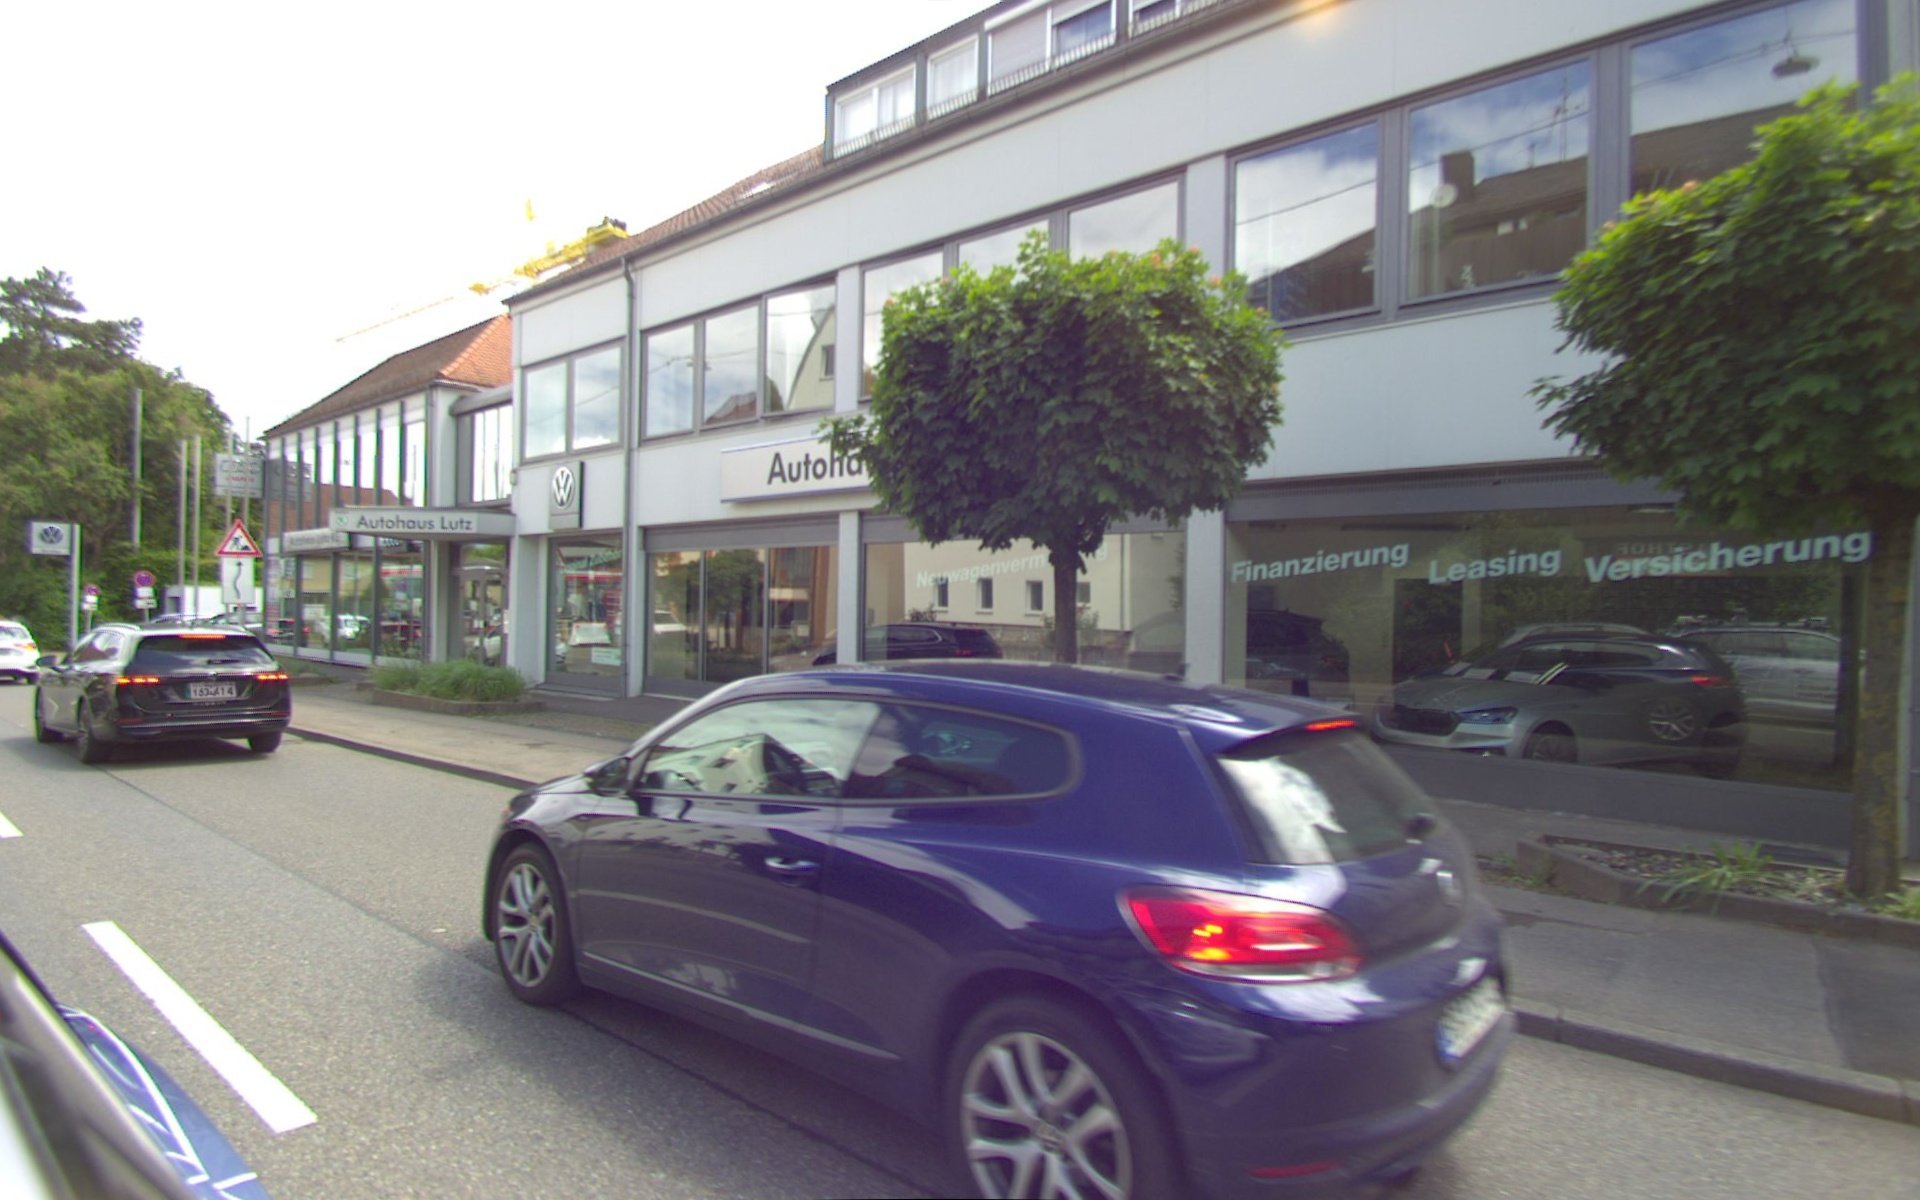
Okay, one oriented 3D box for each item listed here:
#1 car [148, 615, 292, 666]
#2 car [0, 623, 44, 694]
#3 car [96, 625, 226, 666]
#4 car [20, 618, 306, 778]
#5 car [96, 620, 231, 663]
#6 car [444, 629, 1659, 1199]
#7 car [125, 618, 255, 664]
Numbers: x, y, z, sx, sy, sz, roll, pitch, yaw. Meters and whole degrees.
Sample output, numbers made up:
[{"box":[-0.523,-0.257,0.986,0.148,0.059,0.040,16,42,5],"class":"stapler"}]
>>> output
[{"box":[-27.069,1.453,37.110,1.652,1.643,3.974,-2,0,38],"class":"car"},{"box":[-23.624,1.367,24.455,3.797,1.591,1.673,0,-2,40],"class":"car"},{"box":[-31.418,1.788,39.877,1.727,1.530,3.703,-2,-3,39],"class":"car"},{"box":[-9.549,1.004,11.993,4.458,1.535,1.758,0,-2,40],"class":"car"},{"box":[-33.718,1.726,42.948,1.903,1.653,4.245,-2,-1,41],"class":"car"},{"box":[-0.058,0.863,3.661,4.106,1.436,1.752,-1,-4,41],"class":"car"},{"box":[-29.490,1.530,38.837,1.533,1.572,3.703,-2,0,39],"class":"car"}]
